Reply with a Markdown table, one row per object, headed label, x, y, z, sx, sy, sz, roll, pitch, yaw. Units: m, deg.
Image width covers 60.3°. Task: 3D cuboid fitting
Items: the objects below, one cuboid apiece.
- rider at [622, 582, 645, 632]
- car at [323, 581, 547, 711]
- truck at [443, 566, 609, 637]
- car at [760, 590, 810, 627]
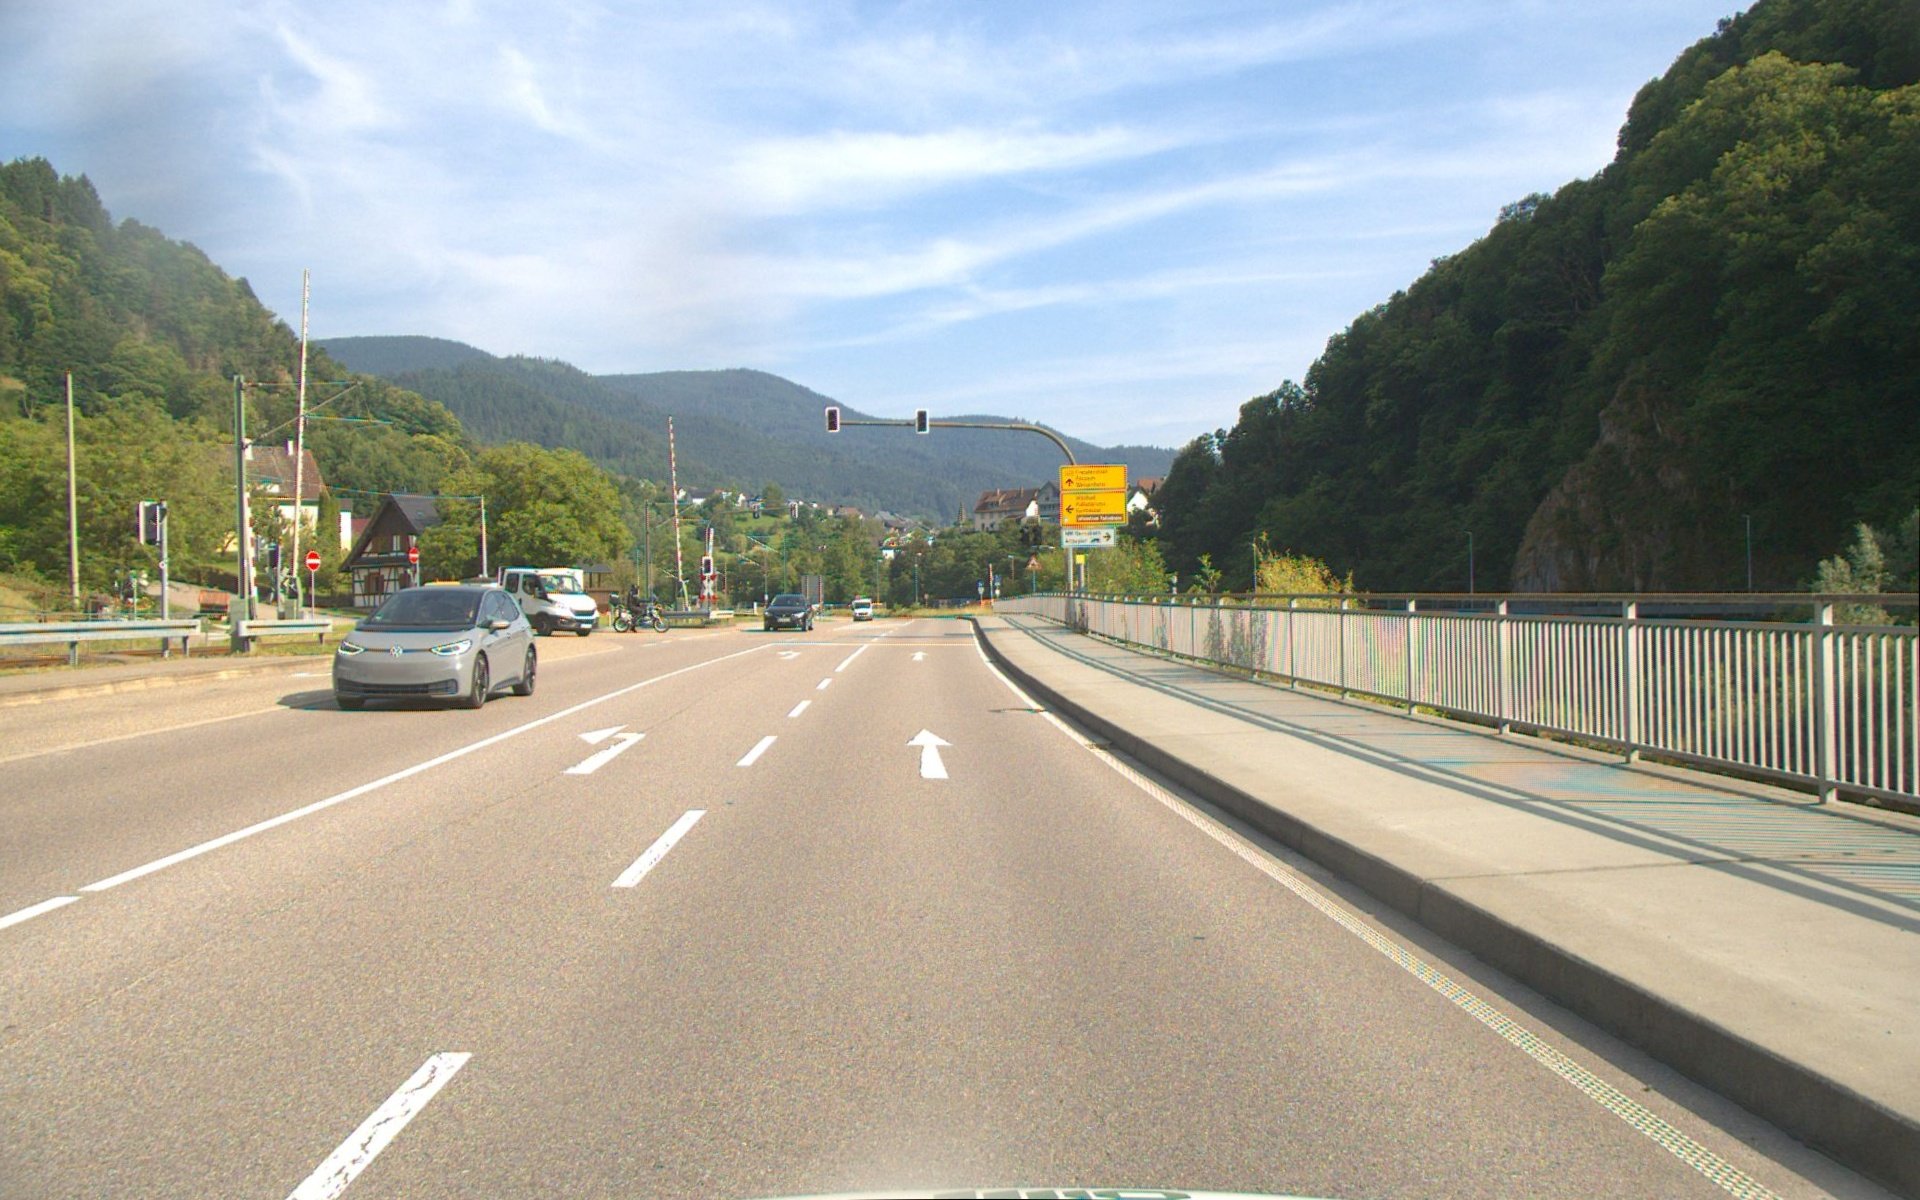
| label | x | y | z | sx | sy | sz | roll | pitch | yaw |
| --- | --- | --- | --- | --- | --- | --- | --- | --- | --- |
| rider | -12.320 | 0.273 | 62.382 | 0.740 | 1.851 | 0.740 | 1 | 1 | -17 |
| car | -6.873 | 0.560 | 22.096 | 1.723 | 1.548 | 4.203 | 1 | 0 | -2 |
| truck | -14.843 | 0.032 | 56.414 | 5.874 | 2.306 | 1.995 | 0 | 0 | 32 |
| car | -6.999 | 0.321 | 66.445 | 1.737 | 1.441 | 3.784 | 0 | 0 | -2 |
